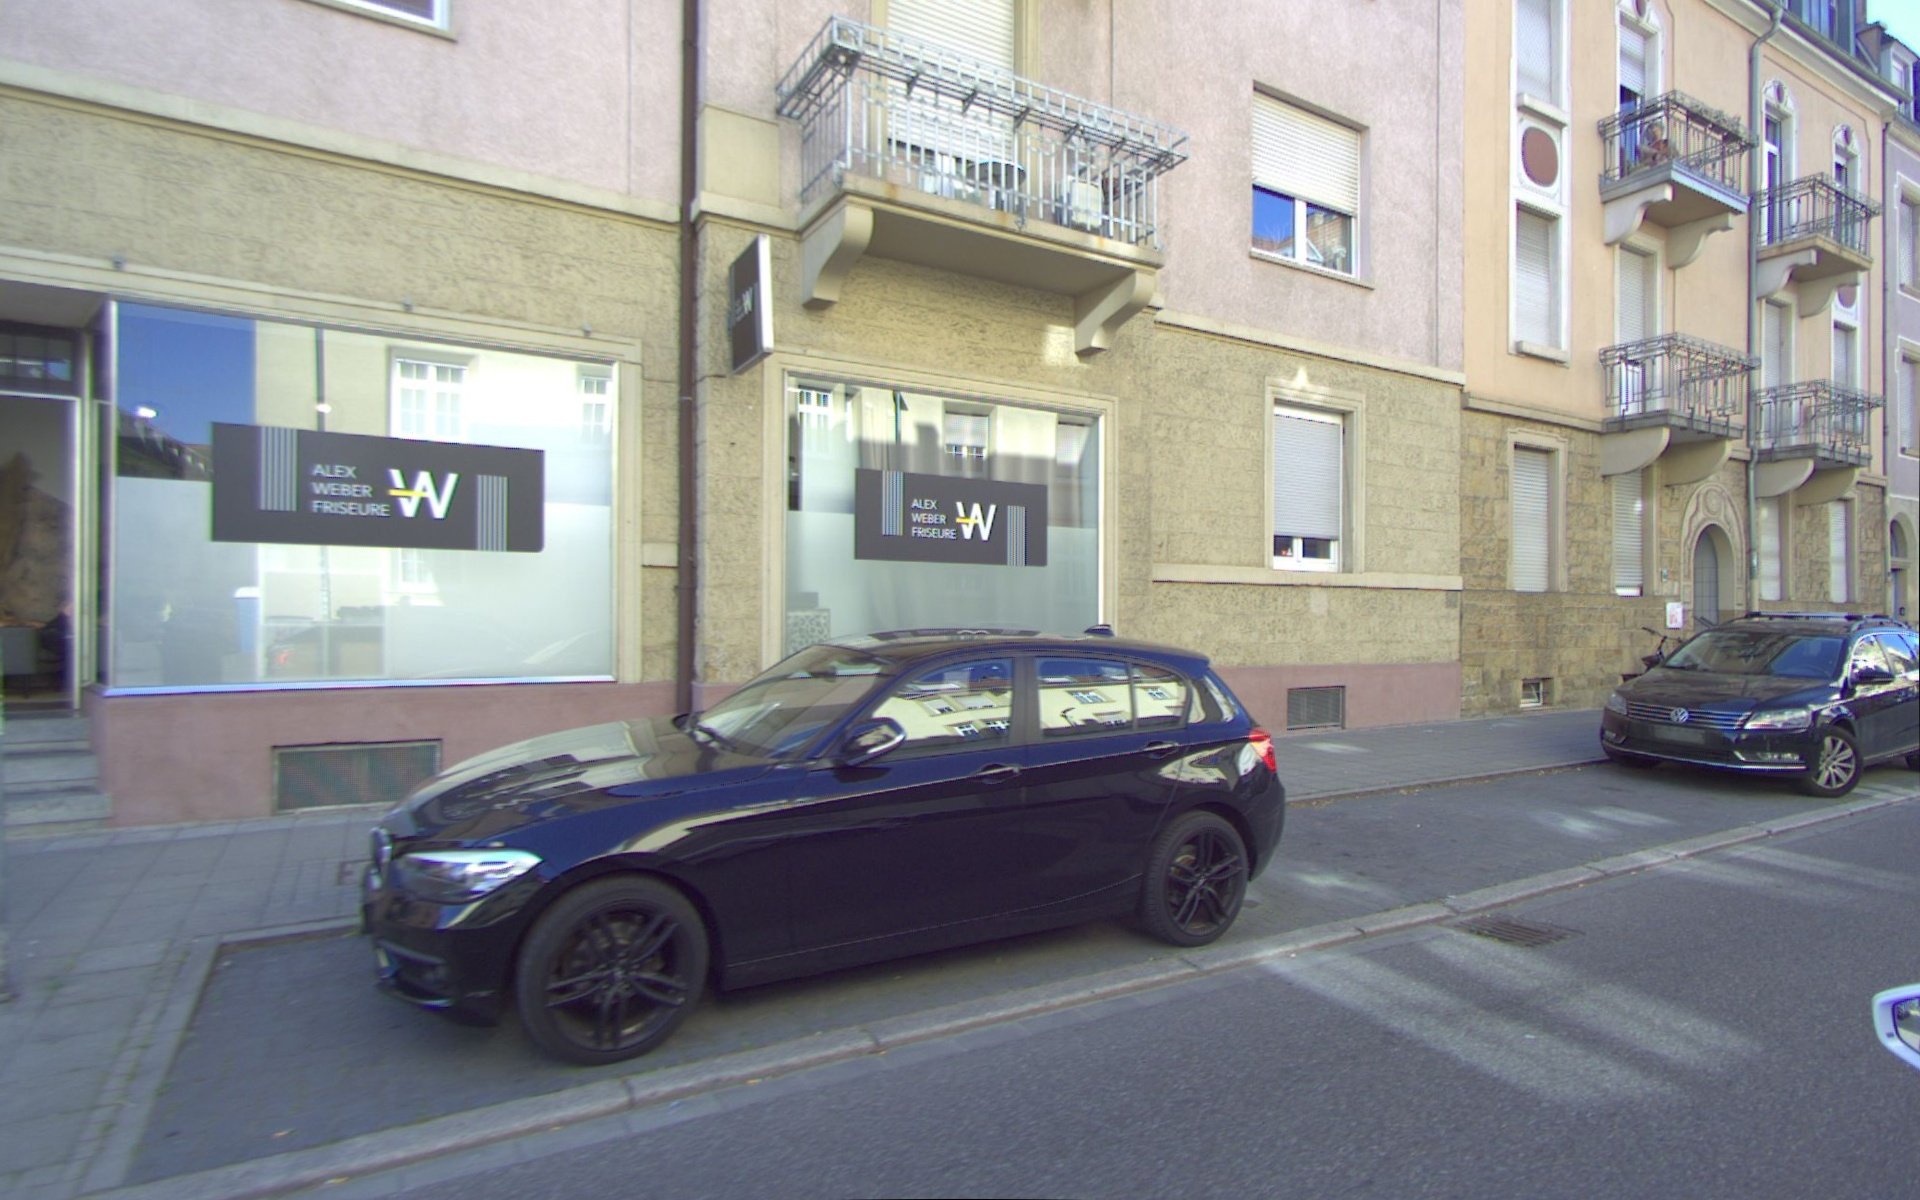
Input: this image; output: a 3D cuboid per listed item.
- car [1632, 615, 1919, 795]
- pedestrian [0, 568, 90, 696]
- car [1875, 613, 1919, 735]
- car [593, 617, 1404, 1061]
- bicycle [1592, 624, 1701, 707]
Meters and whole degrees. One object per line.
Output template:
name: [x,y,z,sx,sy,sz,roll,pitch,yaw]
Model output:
car: [8.945,0.936,10.452,4.063,1.541,1.706,0,-1,-31]
pedestrian: [-7.830,0.249,8.391,0.694,1.004,1.129,0,1,-33]
car: [14.117,0.955,13.562,3.682,1.558,1.705,0,0,-32]
car: [0.272,0.852,5.135,3.819,1.405,1.706,0,3,-30]
bicycle: [10.396,0.974,15.192,1.825,1.176,0.661,1,0,-31]
